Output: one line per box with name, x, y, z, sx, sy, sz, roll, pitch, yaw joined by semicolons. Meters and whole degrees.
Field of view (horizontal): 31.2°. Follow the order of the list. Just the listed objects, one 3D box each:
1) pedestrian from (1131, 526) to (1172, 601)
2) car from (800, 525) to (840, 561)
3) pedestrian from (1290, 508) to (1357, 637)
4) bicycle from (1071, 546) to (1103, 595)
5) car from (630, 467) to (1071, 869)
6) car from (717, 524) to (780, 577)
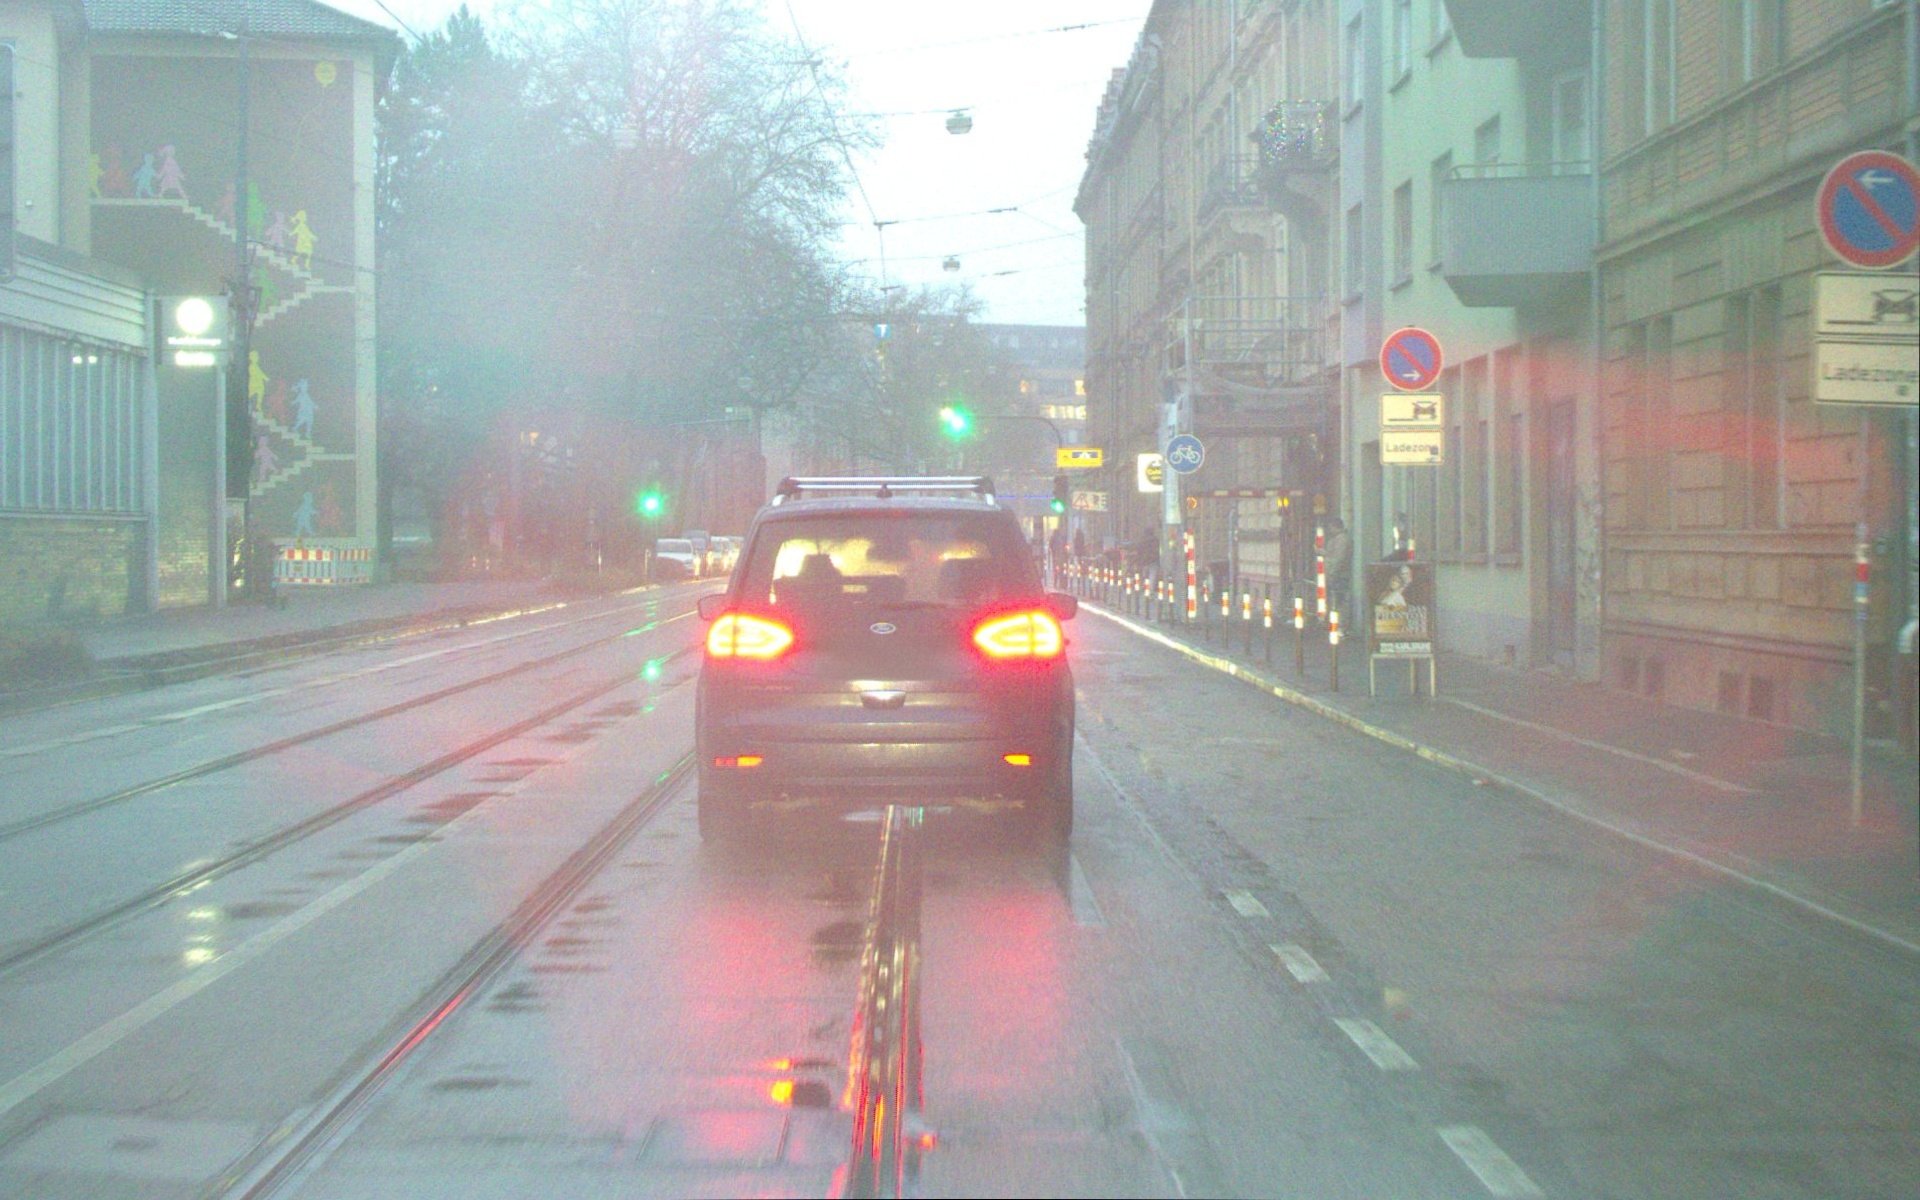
pedestrian;4.355;-0.832;78.028;0.835;1.695;0.953;1;0;8
car;-5.850;-2.402;143.720;1.530;1.476;3.561;0;1;0
pedestrian;5.181;-0.391;49.006;0.598;1.812;0.776;0;1;-28
bicycle;3.042;-0.711;82.483;0.684;1.152;2.188;0;1;0
car;-0.439;0.275;17.721;1.994;1.835;4.000;0;1;2
car;-7.023;-1.672;114.329;1.875;1.704;4.761;-1;1;-1
